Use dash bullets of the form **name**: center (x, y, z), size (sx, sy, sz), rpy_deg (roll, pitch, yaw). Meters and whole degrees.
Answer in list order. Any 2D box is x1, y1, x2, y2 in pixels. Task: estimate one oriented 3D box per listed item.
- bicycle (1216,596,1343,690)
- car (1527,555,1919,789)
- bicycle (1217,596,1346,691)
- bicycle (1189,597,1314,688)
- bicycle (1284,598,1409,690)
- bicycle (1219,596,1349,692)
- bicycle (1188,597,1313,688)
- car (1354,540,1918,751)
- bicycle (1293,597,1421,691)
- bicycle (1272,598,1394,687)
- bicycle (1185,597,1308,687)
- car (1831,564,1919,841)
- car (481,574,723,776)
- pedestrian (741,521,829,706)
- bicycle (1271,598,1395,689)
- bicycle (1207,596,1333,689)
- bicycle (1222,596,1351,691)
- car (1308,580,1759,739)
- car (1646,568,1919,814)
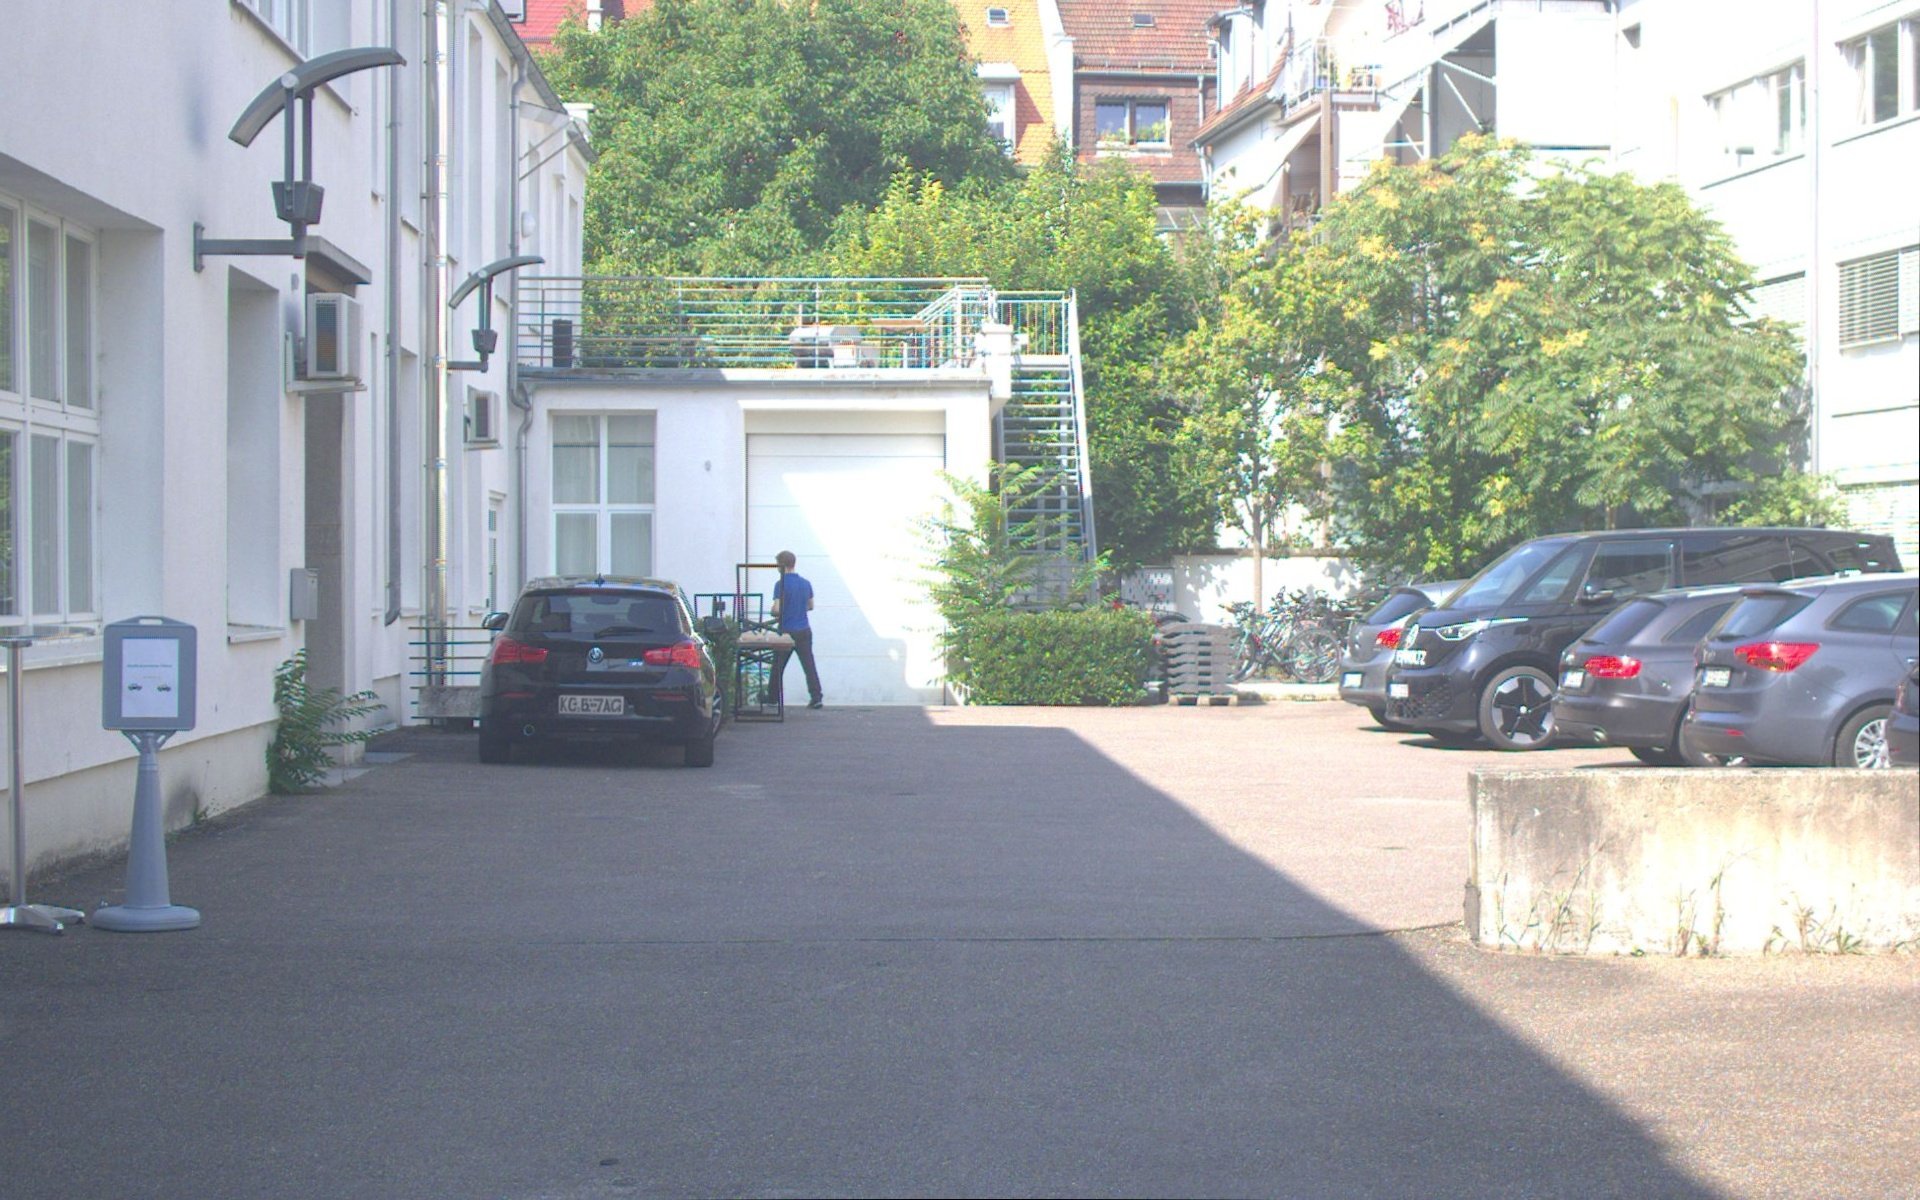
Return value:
- **bicycle**: center (4.184, 0.563, 45.001), size (1.623, 1.210, 0.327), rpy_deg (0, 0, 9)
- **car**: center (6.569, 0.547, 26.199), size (4.116, 1.686, 1.771), rpy_deg (1, 0, -4)
- **bicycle**: center (4.161, 0.560, 44.550), size (1.623, 1.210, 0.327), rpy_deg (0, 0, 0)
- **bicycle**: center (3.954, 0.570, 46.672), size (1.623, 1.210, 0.424), rpy_deg (-1, 0, -7)
- **bicycle**: center (5.148, 0.580, 45.780), size (1.624, 1.210, 0.424), rpy_deg (0, 0, 12)
- **bicycle**: center (4.141, 0.557, 43.934), size (1.623, 1.210, 0.327), rpy_deg (0, 0, 0)
- **bicycle**: center (3.888, 0.566, 46.036), size (1.623, 1.210, 0.424), rpy_deg (0, 0, -2)
- **car**: center (5.931, 0.395, 30.391), size (4.499, 1.788, 1.883), rpy_deg (0, -1, -10)
- **bicycle**: center (5.190, 0.575, 44.922), size (1.624, 1.210, 0.327), rpy_deg (0, 0, 14)
- **bicycle**: center (5.142, 0.589, 47.384), size (1.624, 1.210, 0.424), rpy_deg (0, 0, 11)
- **bicycle**: center (3.932, 0.573, 47.274), size (1.623, 1.210, 0.424), rpy_deg (-1, 0, -6)
- **car**: center (7.315, 0.612, 20.189), size (3.798, 1.583, 1.898), rpy_deg (1, 0, -11)
- **car**: center (-2.748, 0.556, 27.067), size (1.688, 1.454, 3.923), rpy_deg (1, 0, -3)
- **pedestrian**: center (-1.920, 0.149, 37.867), size (0.913, 2.007, 0.935), rpy_deg (1, 0, -1)
- **bicycle**: center (5.029, 0.582, 46.355), size (1.624, 1.210, 0.424), rpy_deg (0, 0, 11)
- **bicycle**: center (4.095, 0.564, 45.364), size (1.624, 1.210, 0.327), rpy_deg (0, 0, 12)
- **bicycle**: center (4.198, 0.559, 44.256), size (1.623, 1.210, 0.327), rpy_deg (0, 0, 0)
- **car**: center (5.514, 0.565, 33.268), size (3.931, 1.477, 1.775), rpy_deg (0, -1, -10)
- **car**: center (6.842, 0.614, 23.384), size (3.861, 1.583, 1.880), rpy_deg (1, 0, -6)
